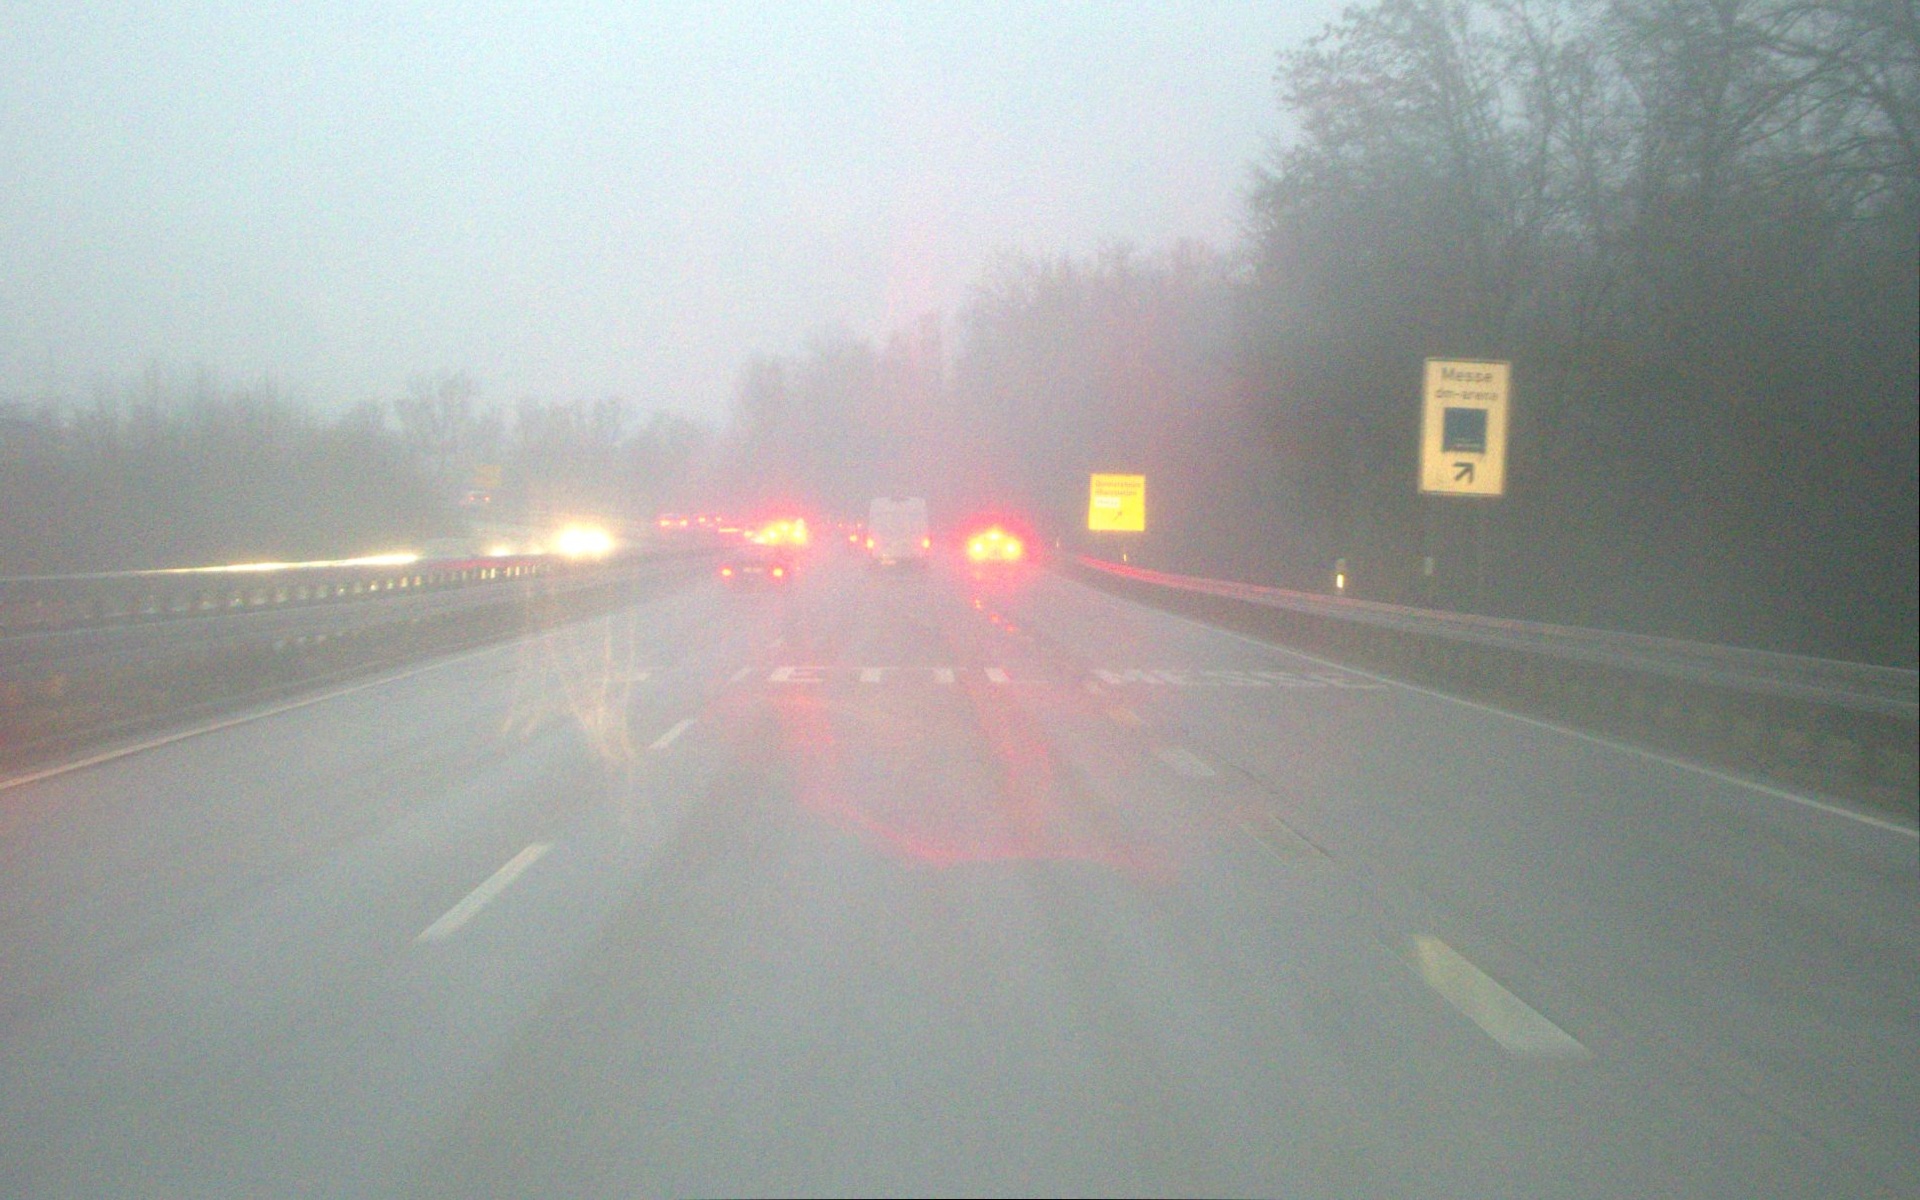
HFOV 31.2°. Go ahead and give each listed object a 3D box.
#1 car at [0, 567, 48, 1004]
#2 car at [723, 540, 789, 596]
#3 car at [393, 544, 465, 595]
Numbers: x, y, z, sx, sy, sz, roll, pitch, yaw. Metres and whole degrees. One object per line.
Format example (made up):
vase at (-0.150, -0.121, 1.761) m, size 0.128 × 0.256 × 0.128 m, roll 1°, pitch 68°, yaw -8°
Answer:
car at (-3.805, 0.584, 9.396) m, size 1.625 × 1.387 × 4.000 m, roll 2°, pitch 1°, yaw -2°
car at (-4.965, -0.798, 84.015) m, size 1.416 × 1.312 × 3.083 m, roll 2°, pitch 1°, yaw -1°
car at (-15.792, -0.913, 102.315) m, size 1.615 × 1.459 × 3.645 m, roll 0°, pitch 1°, yaw -1°
